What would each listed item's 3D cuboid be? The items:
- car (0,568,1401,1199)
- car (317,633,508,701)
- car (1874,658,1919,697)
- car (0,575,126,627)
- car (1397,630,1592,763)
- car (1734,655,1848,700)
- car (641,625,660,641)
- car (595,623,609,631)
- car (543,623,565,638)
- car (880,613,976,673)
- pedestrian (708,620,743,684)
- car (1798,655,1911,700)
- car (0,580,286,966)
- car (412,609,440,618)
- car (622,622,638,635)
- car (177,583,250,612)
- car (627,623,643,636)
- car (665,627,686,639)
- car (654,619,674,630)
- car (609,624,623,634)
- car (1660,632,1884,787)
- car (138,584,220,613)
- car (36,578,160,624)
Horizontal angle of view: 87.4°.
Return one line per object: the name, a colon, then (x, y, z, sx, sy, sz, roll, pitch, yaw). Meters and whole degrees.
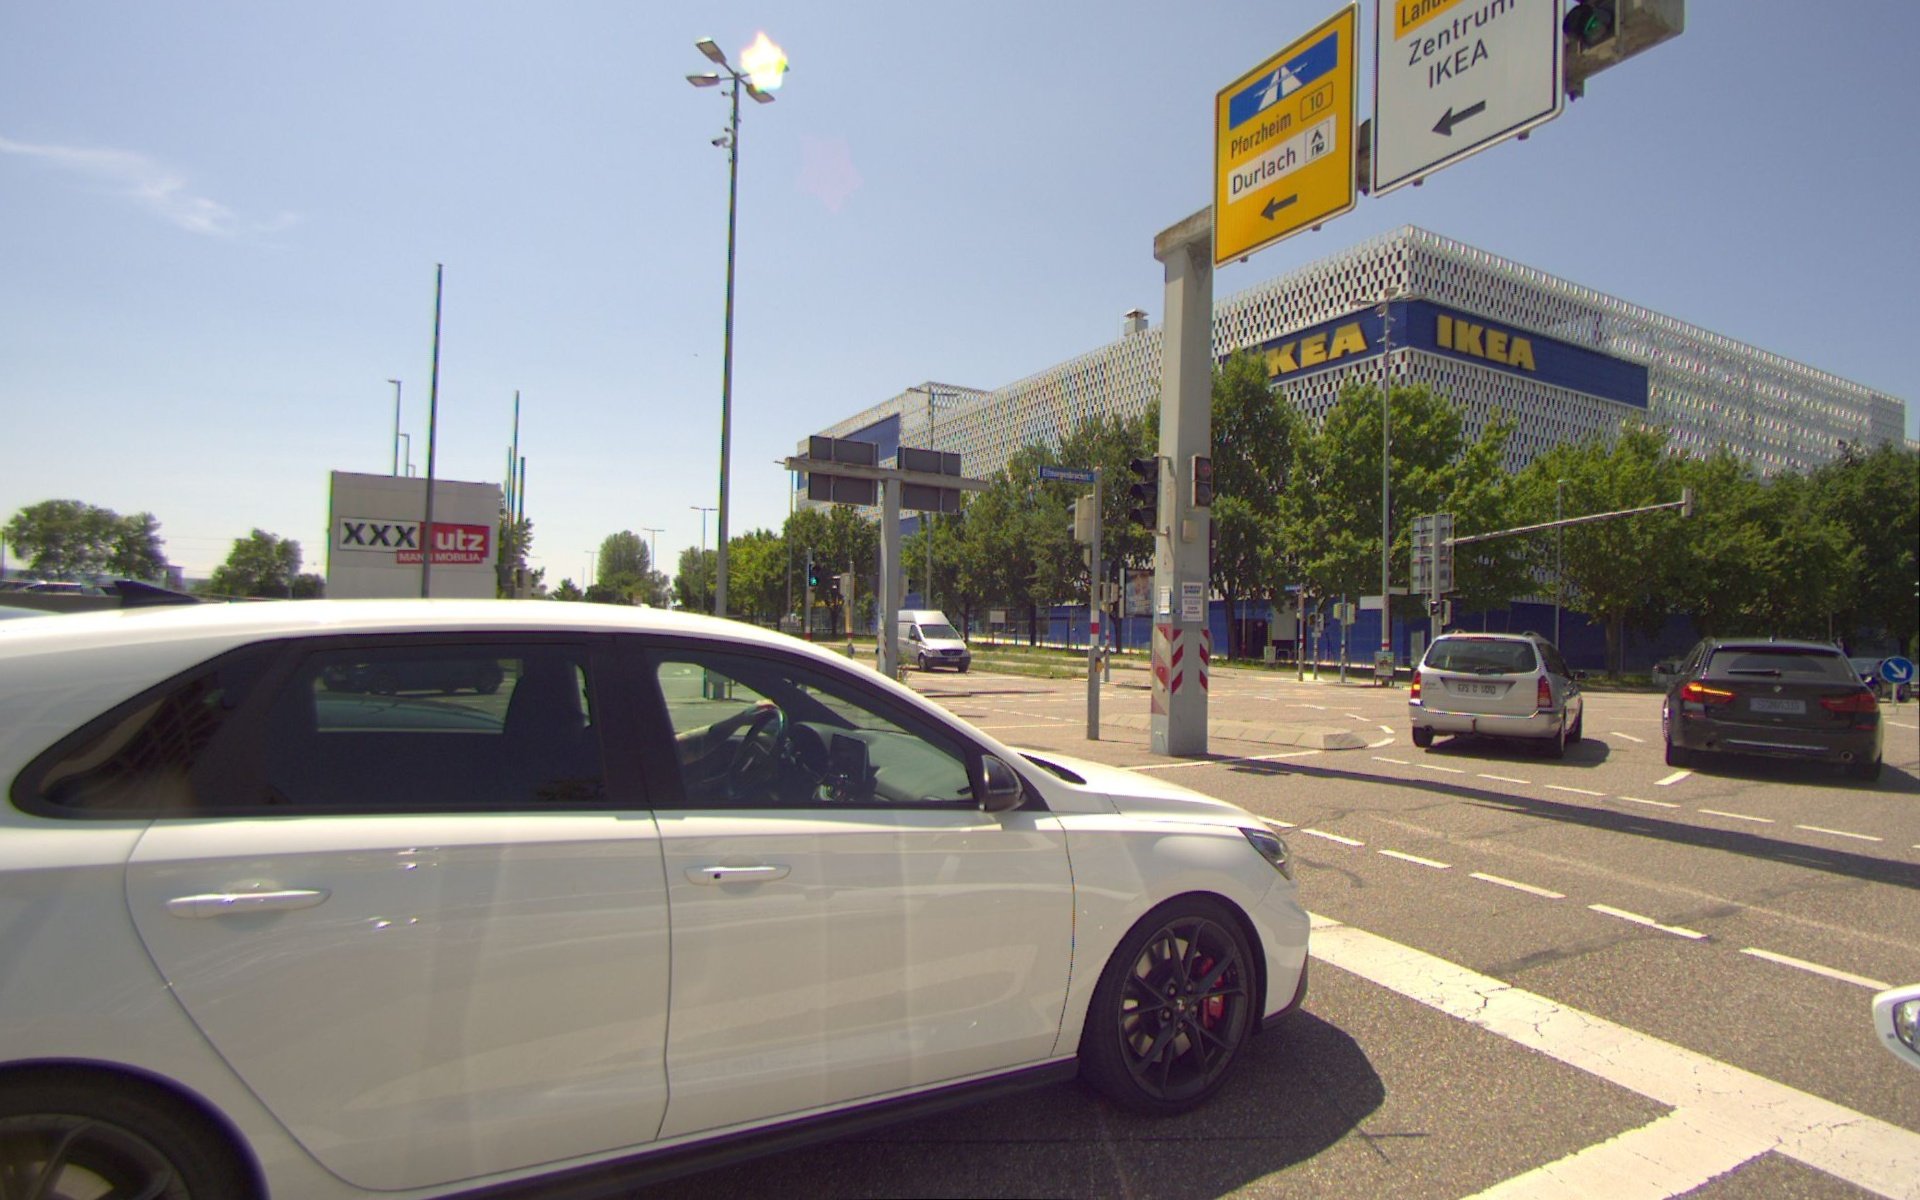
car: (-0.722, 0.726, 3.094, 4.023, 1.455, 1.779, 2, -1, -30)
car: (-12.154, 1.454, 22.505, 1.592, 1.382, 3.432, 0, -2, 29)
car: (37.942, 3.064, 39.302, 4.660, 1.464, 1.720, 3, -4, -27)
car: (-39.635, 0.079, 44.175, 4.284, 2.040, 1.982, 3, -3, -34)
car: (7.175, 1.143, 13.278, 1.671, 1.441, 3.994, 1, -1, 37)
car: (27.027, 2.526, 32.644, 3.671, 1.407, 1.637, 3, -4, -29)
car: (-40.258, 4.288, 130.623, 1.750, 2.040, 3.813, 2, -2, -26)
car: (-60.743, 4.580, 170.458, 1.608, 1.368, 3.472, 2, -2, -29)
car: (-45.126, 3.377, 111.621, 1.836, 1.528, 3.972, 2, -2, -28)
car: (-1.336, 1.656, 39.358, 1.973, 2.212, 5.019, 2, -2, -24)
pedestrian: (-6.711, 1.480, 28.715, 0.816, 1.807, 0.601, 2, -2, -27)
car: (31.827, 2.765, 35.715, 4.193, 1.524, 1.719, 3, -4, -29)
car: (-5.251, 0.621, 3.707, 4.413, 1.423, 1.664, 1, -2, -29)
car: (-91.139, 2.302, 171.303, 3.974, 1.441, 1.679, 3, -3, -38)
car: (-49.079, 4.258, 149.407, 1.607, 1.938, 3.474, 2, -2, -27)
car: (-58.417, -0.148, 78.672, 4.278, 2.040, 1.985, 3, -2, -30)
car: (-46.438, 4.226, 143.537, 1.607, 1.835, 3.475, 2, -2, -26)
car: (-38.894, 4.464, 137.152, 1.975, 1.572, 3.972, 2, -2, -27)
car: (-42.648, 3.486, 144.566, 1.976, 1.572, 3.970, 2, -2, -29)
car: (-55.273, 4.687, 161.421, 1.608, 1.629, 3.472, 2, -2, -29)
car: (9.649, 1.167, 12.144, 1.775, 1.459, 4.540, 1, -2, 37)
car: (-52.881, -0.081, 68.115, 4.086, 1.764, 1.770, 3, -2, -30)
car: (-42.182, 0.081, 49.305, 4.285, 2.040, 1.982, 3, -3, -34)
